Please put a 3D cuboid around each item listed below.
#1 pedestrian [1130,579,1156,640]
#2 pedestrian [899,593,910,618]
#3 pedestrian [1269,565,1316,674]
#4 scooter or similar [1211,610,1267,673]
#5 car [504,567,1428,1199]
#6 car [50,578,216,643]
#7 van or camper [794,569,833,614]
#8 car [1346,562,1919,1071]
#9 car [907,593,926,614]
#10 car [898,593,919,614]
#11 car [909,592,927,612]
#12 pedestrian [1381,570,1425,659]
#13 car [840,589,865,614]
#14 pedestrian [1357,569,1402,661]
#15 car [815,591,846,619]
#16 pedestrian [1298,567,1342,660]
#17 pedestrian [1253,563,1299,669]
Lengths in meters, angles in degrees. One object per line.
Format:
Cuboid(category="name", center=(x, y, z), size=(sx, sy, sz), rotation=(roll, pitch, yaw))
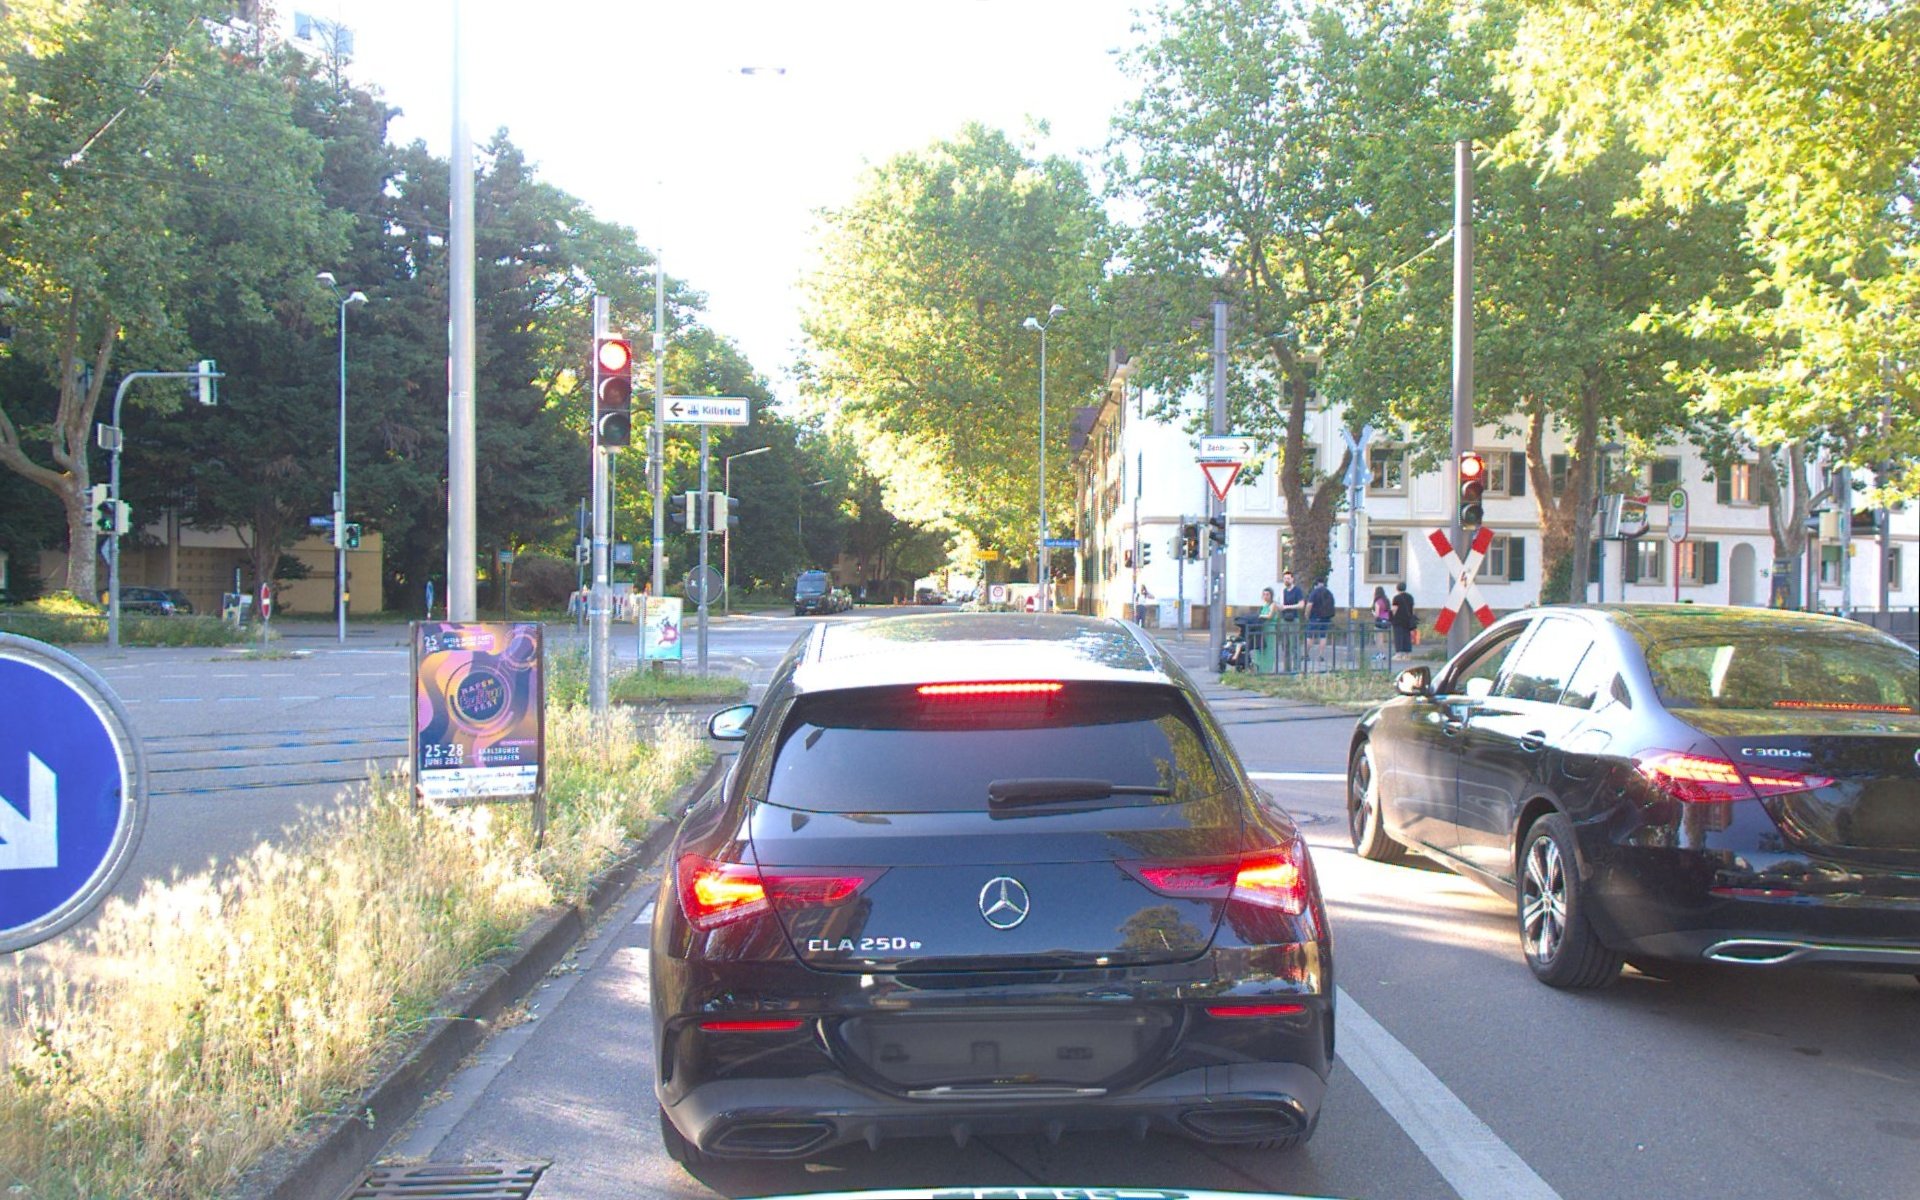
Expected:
Cuboid(category="pedestrian", center=(5.989, 0.303, 54.081), size=(0.691, 1.951, 0.838), rotation=(1, -1, -4))
Cuboid(category="pedestrian", center=(-4.367, 0.447, 129.952), size=(0.692, 1.951, 0.837), rotation=(1, -1, -11))
Cuboid(category="pedestrian", center=(6.069, 0.359, 30.205), size=(0.669, 1.951, 0.707), rotation=(1, -1, -3))
Cuboid(category="scooter or similar", center=(5.110, 0.749, 30.370), size=(0.812, 1.124, 0.808), rotation=(1, 0, -6))
Cuboid(category="car", center=(0.025, 0.688, 5.357), size=(1.851, 1.475, 4.001), rotation=(1, 2, 0))
Cuboid(category="car", center=(-24.383, 0.310, 48.845), size=(3.902, 1.805, 2.001), rotation=(1, 0, 7))
Cuboid(category="van or camper", center=(-8.794, -0.491, 99.610), size=(1.953, 2.586, 4.650), rotation=(1, 0, -1))
Cuboid(category="car", center=(3.180, 0.641, 7.373), size=(1.851, 1.516, 4.382), rotation=(1, 2, 0))
Cuboid(category="car", center=(-3.957, 0.308, 150.317), size=(1.698, 1.796, 4.018), rotation=(1, 0, -1))
Cuboid(category="car", center=(-4.531, 0.340, 145.447), size=(1.698, 1.796, 4.018), rotation=(1, 0, -1))
Cuboid(category="car", center=(-4.005, 0.197, 158.401), size=(1.698, 1.796, 4.018), rotation=(1, 0, -1))
Cuboid(category="pedestrian", center=(9.858, 0.315, 36.814), size=(0.691, 1.951, 0.838), rotation=(1, -1, -4))
Cuboid(category="car", center=(-8.120, 0.133, 125.251), size=(1.698, 1.796, 3.970), rotation=(1, 0, -1))
Cuboid(category="pedestrian", center=(9.067, 0.328, 35.802), size=(0.691, 1.951, 0.838), rotation=(1, -1, -4))
Cuboid(category="car", center=(-8.528, 0.313, 109.171), size=(1.698, 1.796, 4.340), rotation=(1, 0, -1))
Cuboid(category="pedestrian", center=(7.703, 0.289, 35.457), size=(0.691, 1.951, 0.838), rotation=(1, -1, -4))
Cuboid(category="pedestrian", center=(5.912, 0.306, 30.975), size=(0.669, 1.951, 0.706), rotation=(1, -1, -5))
